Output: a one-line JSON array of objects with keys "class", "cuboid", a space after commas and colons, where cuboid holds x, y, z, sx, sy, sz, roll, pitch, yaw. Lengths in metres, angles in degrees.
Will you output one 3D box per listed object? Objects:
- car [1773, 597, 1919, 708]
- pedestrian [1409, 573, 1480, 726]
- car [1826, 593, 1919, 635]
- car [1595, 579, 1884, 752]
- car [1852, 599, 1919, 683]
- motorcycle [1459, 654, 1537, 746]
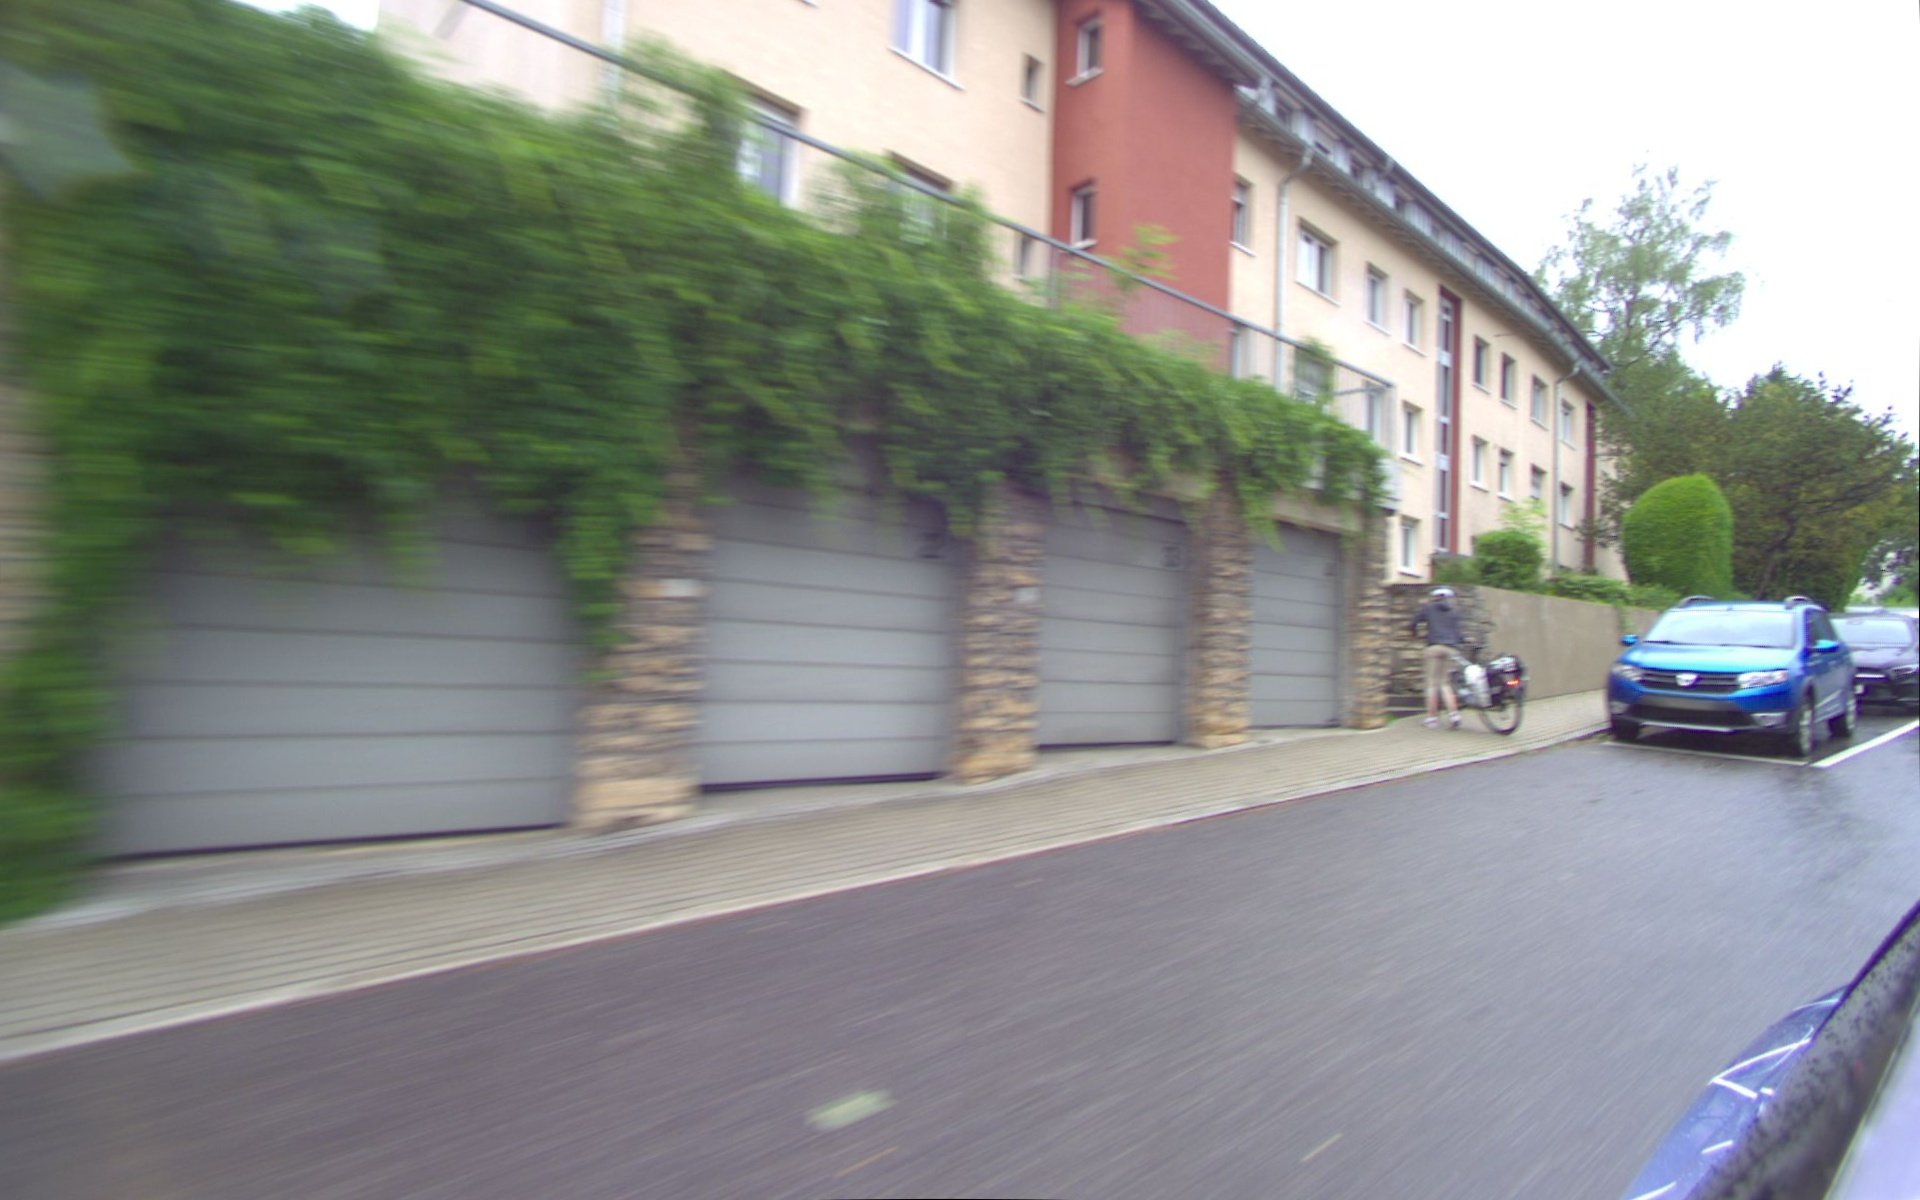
[{"class": "car", "cuboid": [13.877, 0.711, 15.312, 4.178, 1.474, 1.692, 1, -1, -40]}, {"class": "pedestrian", "cuboid": [5.478, 0.550, 11.472, 0.613, 1.672, 0.610, -1, -1, 20]}, {"class": "car", "cuboid": [36.310, 0.519, 40.233, 1.668, 1.489, 3.711, 4, 1, 22]}, {"class": "car", "cuboid": [8.932, 0.632, 11.470, 4.178, 1.614, 1.737, 1, -1, -40]}, {"class": "car", "cuboid": [18.476, 0.732, 19.122, 4.178, 1.474, 1.810, 1, -1, -40]}, {"class": "motorcycle", "cuboid": [5.771, 1.045, 10.903, 0.530, 0.867, 1.371, -1, -1, 20]}]
